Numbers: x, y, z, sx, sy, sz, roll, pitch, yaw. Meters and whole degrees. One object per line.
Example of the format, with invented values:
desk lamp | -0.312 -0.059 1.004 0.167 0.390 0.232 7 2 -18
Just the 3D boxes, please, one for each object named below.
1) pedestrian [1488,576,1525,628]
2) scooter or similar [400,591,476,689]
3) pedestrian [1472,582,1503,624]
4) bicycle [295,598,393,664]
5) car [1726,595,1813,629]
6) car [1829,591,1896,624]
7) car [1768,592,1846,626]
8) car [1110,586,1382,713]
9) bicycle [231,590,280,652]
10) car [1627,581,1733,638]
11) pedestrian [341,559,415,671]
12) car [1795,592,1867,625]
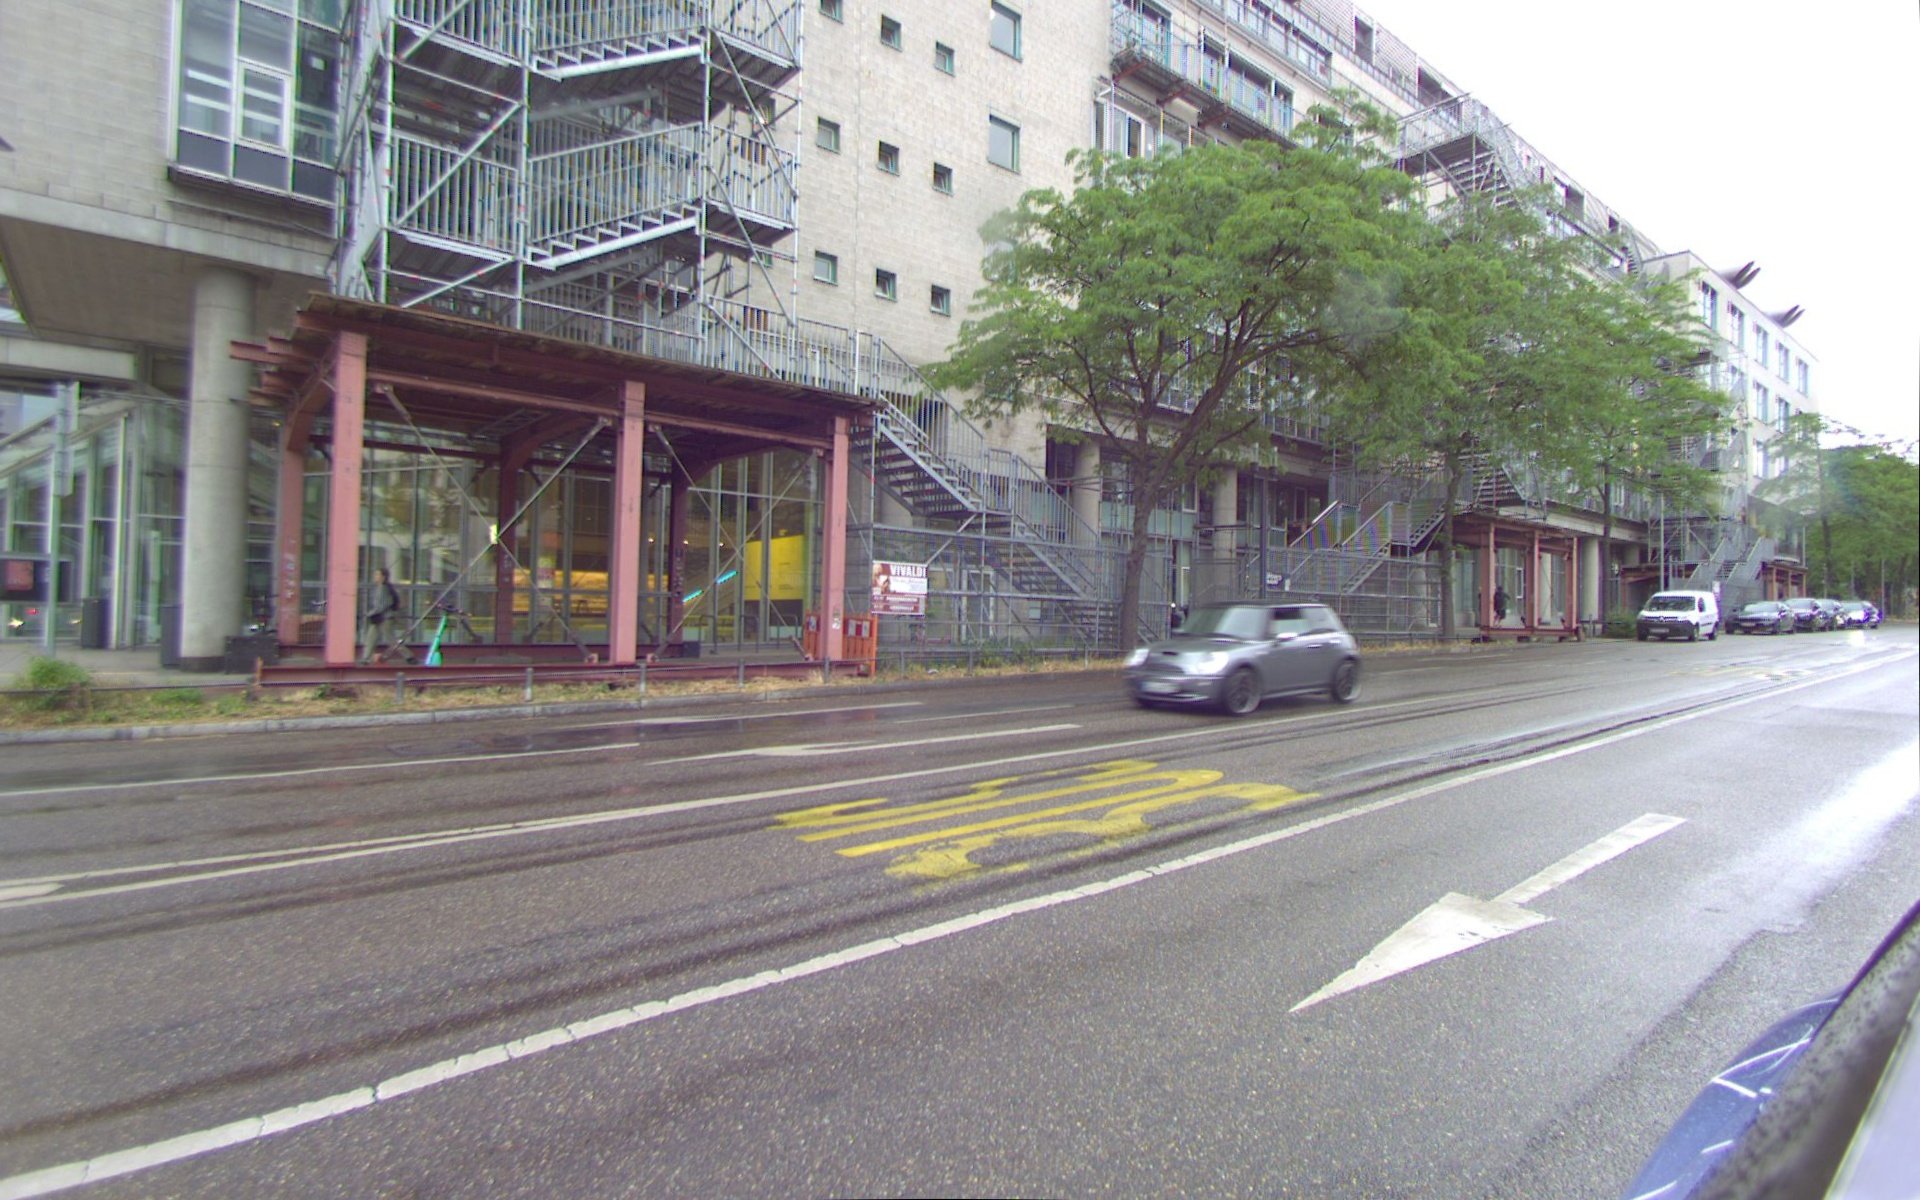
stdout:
pedestrian | 21.958 0.066 40.635 1.021 2.039 1.009 0 0 -41
scooter or similar | -6.939 0.488 13.415 0.576 1.209 1.782 1 0 -38
pedestrian | 23.526 0.132 45.152 0.832 1.822 1.008 0 0 -44
bicycle | -11.987 0.574 19.739 0.580 1.209 1.602 0 0 24
car | 35.091 0.464 43.818 4.733 1.353 2.145 -1 1 -41
car | 48.931 0.370 54.855 4.733 1.667 2.145 -1 0 -41
car | 40.247 0.407 48.068 4.733 1.513 2.145 -1 1 -41
car | 3.916 0.576 13.632 3.654 1.474 1.743 0 0 -39
bicycle | -14.419 0.413 20.701 0.577 1.209 1.611 0 0 -44
car | 26.066 0.307 36.590 4.254 1.930 2.211 -1 0 -41
pedestrian | -9.609 0.236 16.719 0.774 1.798 0.783 0 0 31
car | 44.358 0.380 51.530 4.733 1.580 2.145 -1 1 -41
